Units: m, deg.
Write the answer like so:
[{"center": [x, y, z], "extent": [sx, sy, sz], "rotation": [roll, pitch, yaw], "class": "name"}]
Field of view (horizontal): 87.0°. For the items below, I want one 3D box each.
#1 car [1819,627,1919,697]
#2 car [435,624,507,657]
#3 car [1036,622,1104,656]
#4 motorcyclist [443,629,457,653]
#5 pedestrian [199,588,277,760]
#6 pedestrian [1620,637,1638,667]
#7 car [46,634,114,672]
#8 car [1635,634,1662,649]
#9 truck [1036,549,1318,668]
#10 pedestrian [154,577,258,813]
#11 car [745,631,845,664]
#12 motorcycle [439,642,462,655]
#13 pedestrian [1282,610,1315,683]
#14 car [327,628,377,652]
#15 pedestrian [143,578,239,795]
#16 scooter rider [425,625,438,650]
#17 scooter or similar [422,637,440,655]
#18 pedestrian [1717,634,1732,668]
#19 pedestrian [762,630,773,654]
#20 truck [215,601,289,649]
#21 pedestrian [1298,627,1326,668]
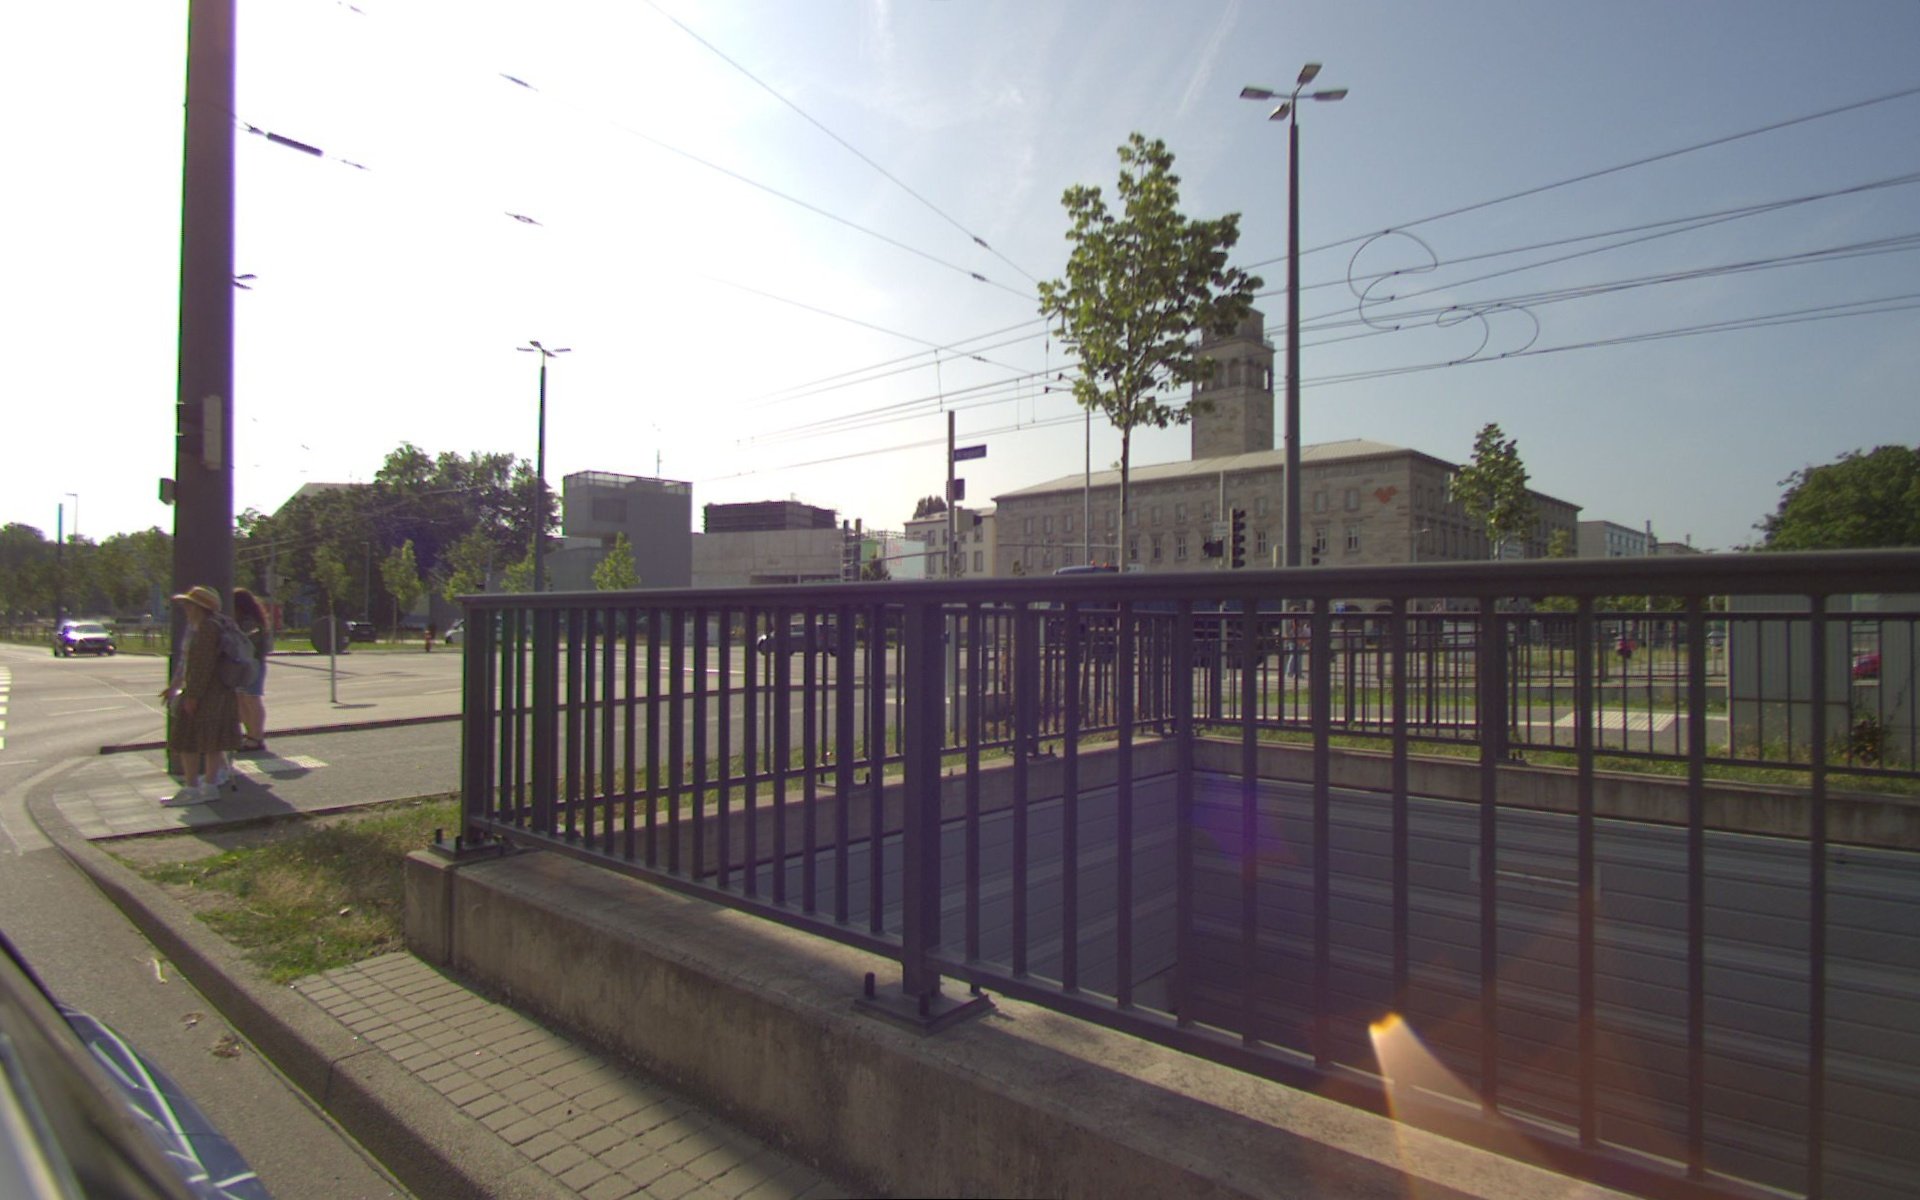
[{"center": [19.943, 1.236, 20.524], "extent": [3.692, 1.372, 1.705], "rotation": [-1, -2, 37], "class": "car"}, {"center": [-27.881, 2.279, 57.622], "extent": [4.505, 1.802, 1.603], "rotation": [-1, -2, 33], "class": "car"}, {"center": [6.818, 2.411, 62.515], "extent": [3.937, 2.029, 2.003], "rotation": [1, -2, -41], "class": "car"}, {"center": [-33.167, 2.656, 65.807], "extent": [0.859, 1.539, 0.387], "rotation": [-2, -2, 34], "class": "motorcyclist"}, {"center": [-7.318, 0.727, 10.254], "extent": [0.777, 1.662, 0.462], "rotation": [-2, -2, 41], "class": "pedestrian"}, {"center": [28.344, 2.202, 42.878], "extent": [0.538, 1.226, 0.438], "rotation": [-1, 0, 42], "class": "pedestrian"}, {"center": [-36.958, 2.184, 42.459], "extent": [3.868, 1.443, 1.686], "rotation": [-2, 0, 42], "class": "car"}, {"center": [77.994, 4.695, 114.644], "extent": [1.888, 1.732, 3.942], "rotation": [-2, -2, 44], "class": "car"}, {"center": [7.178, 0.385, 34.287], "extent": [8.862, 3.614, 2.998], "rotation": [-1, -2, 32], "class": "truck"}, {"center": [-5.650, 0.679, 7.577], "extent": [0.777, 1.662, 0.462], "rotation": [-2, -2, 41], "class": "pedestrian"}, {"center": [-7.122, 2.033, 43.456], "extent": [4.414, 1.357, 1.581], "rotation": [-2, -2, 36], "class": "car"}, {"center": [-33.116, 3.127, 65.800], "extent": [1.817, 0.839, 0.514], "rotation": [-2, -2, 34], "class": "motorcycle"}, {"center": [7.992, 1.097, 23.920], "extent": [0.365, 1.689, 0.642], "rotation": [1, -2, -33], "class": "pedestrian"}, {"center": [-41.827, 2.718, 69.627], "extent": [3.995, 1.614, 1.624], "rotation": [-2, -2, 38], "class": "car"}, {"center": [-6.245, 0.675, 8.215], "extent": [0.777, 1.662, 0.462], "rotation": [-2, -2, 41], "class": "pedestrian"}, {"center": [-36.074, 2.578, 69.081], "extent": [0.548, 1.711, 0.532], "rotation": [-2, -2, 36], "class": "scooter rider"}, {"center": [-36.081, 3.126, 69.052], "extent": [1.380, 1.155, 0.534], "rotation": [-1, -2, 36], "class": "scooter or similar"}, {"center": [39.595, 2.644, 52.408], "extent": [0.540, 1.722, 0.586], "rotation": [-2, -2, 39], "class": "pedestrian"}, {"center": [-14.054, 3.056, 74.048], "extent": [0.598, 1.710, 0.538], "rotation": [2, -3, -45], "class": "pedestrian"}, {"center": [-60.788, 2.175, 86.752], "extent": [10.420, 3.838, 2.940], "rotation": [-2, -2, 42], "class": "truck"}, {"center": [15.116, 2.021, 43.492], "extent": [1.006, 1.747, 0.554], "rotation": [-2, -2, 45], "class": "pedestrian"}]
